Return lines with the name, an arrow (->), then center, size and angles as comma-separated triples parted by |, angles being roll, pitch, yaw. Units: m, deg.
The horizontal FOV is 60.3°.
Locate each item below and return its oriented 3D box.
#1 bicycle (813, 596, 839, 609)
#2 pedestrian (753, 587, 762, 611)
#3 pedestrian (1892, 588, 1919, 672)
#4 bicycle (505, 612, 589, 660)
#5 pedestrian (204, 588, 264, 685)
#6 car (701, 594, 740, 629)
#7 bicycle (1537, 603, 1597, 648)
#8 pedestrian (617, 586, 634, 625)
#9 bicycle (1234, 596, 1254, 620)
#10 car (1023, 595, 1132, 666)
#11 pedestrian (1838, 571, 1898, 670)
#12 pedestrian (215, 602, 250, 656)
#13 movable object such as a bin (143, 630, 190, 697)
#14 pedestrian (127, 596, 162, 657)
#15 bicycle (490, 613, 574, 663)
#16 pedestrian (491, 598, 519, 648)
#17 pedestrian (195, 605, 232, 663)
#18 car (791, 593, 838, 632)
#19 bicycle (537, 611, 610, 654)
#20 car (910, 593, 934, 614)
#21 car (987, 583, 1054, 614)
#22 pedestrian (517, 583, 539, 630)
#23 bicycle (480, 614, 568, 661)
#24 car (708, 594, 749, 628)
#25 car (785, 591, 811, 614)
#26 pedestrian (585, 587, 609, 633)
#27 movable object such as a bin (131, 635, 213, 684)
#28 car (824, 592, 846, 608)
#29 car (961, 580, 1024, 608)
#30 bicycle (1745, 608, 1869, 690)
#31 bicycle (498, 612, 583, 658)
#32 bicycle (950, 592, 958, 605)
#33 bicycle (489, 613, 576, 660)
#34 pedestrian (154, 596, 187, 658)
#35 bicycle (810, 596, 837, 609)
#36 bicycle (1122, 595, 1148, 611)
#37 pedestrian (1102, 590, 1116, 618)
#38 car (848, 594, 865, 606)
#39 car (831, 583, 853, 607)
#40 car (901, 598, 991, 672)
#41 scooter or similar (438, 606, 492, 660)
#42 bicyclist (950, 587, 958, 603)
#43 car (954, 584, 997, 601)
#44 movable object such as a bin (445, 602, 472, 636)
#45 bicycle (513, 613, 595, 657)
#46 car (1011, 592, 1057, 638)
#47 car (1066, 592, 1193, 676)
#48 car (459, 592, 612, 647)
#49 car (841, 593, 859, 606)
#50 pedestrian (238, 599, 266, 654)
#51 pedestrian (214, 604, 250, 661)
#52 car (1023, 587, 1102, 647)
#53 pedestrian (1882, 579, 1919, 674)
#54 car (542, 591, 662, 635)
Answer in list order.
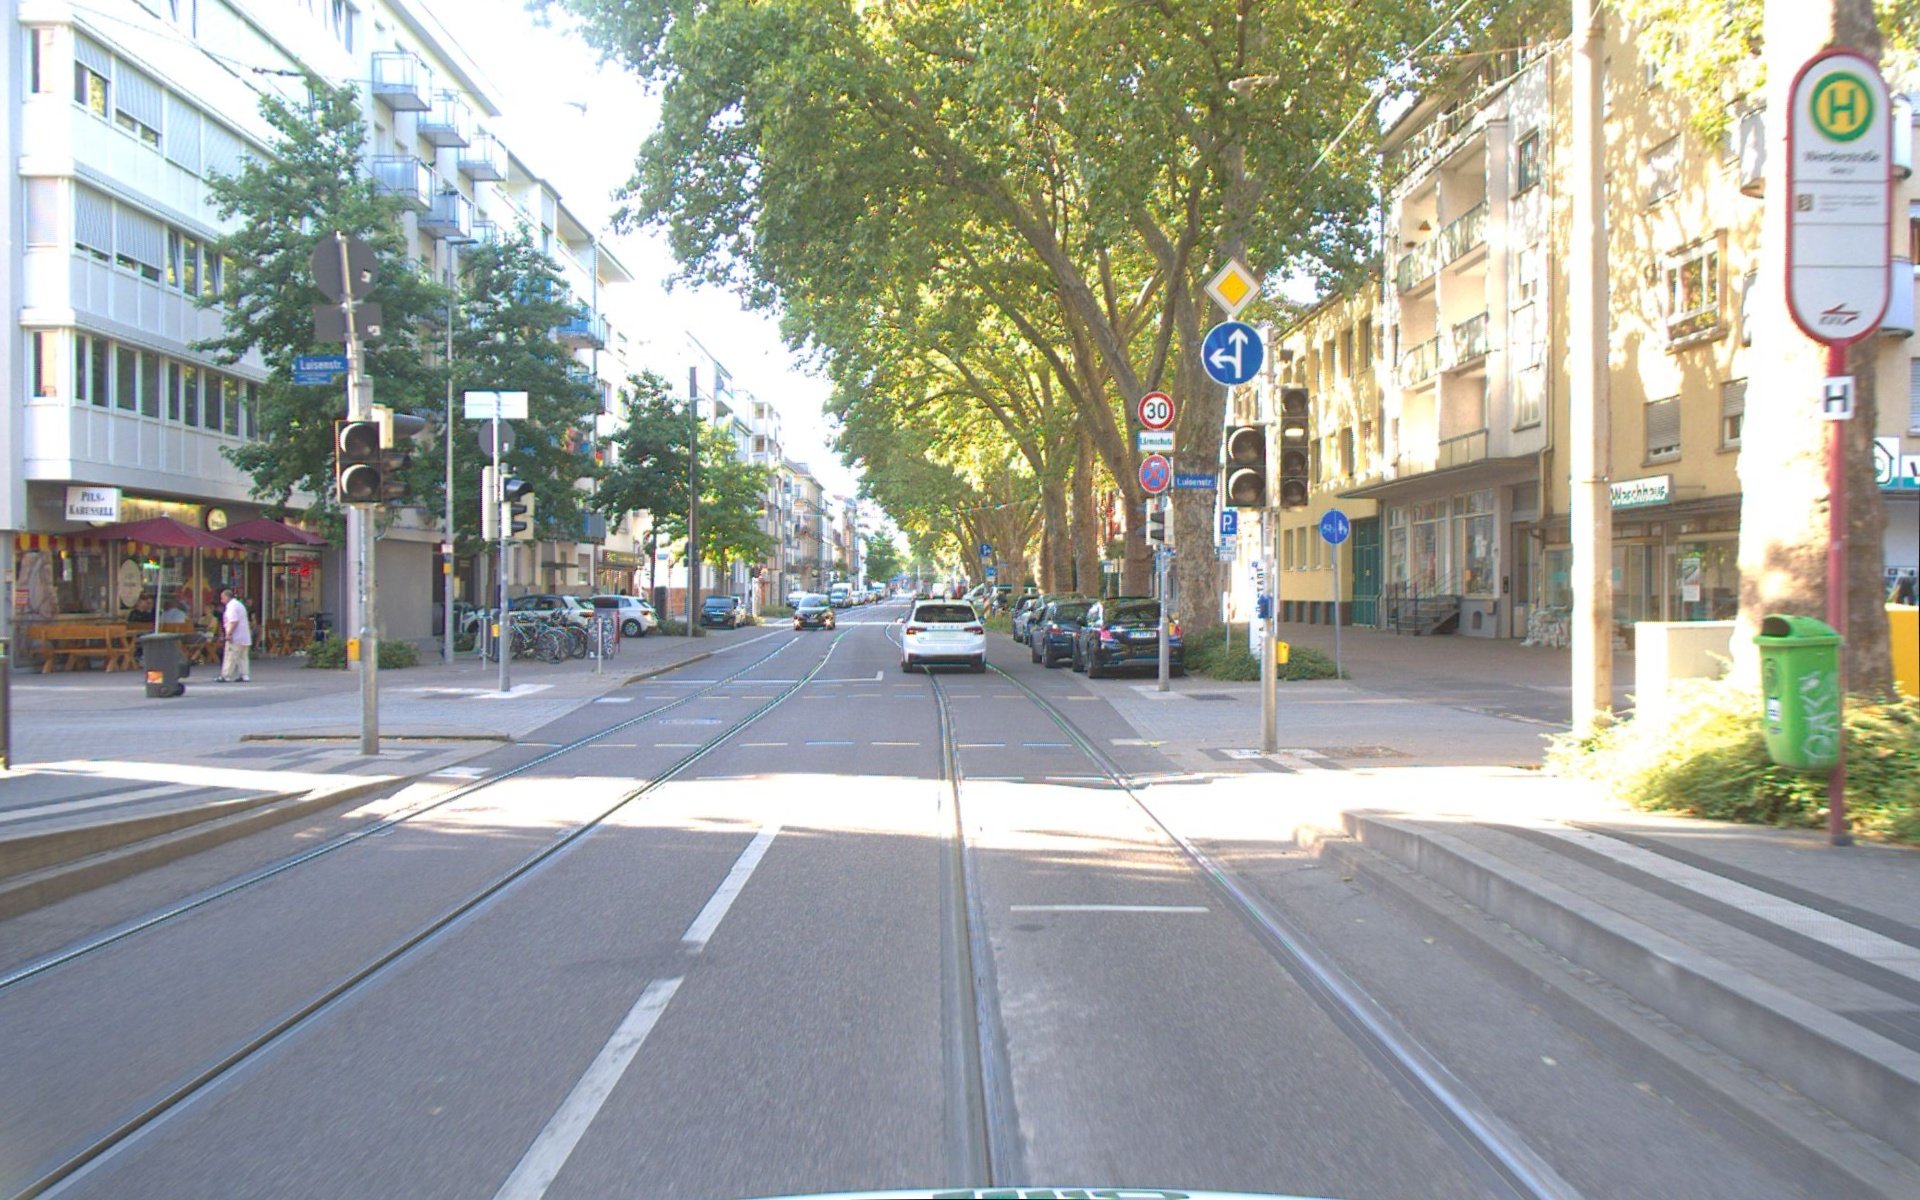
bicycle -> -13.208, 0.213, 162.657 | 2.477, 1.193, 0.718 | 2, -2, -7
pedestrian -> -15.909, -0.061, 129.827 | 0.650, 1.858, 0.965 | 0, 0, -3
pedestrian -> 16.858, 0.505, 28.766 | 0.824, 1.439, 0.767 | -1, 0, -10
bicycle -> -9.574, 0.837, 38.347 | 1.794, 1.082, 0.657 | 1, 0, -6
pedestrian -> -12.148, 0.602, 27.701 | 0.711, 1.583, 0.768 | -1, 0, -7
car -> -10.971, 0.516, 75.925 | 1.681, 1.489, 3.993 | 3, 0, -8
bicycle -> 14.036, 0.578, 38.303 | 0.559, 1.014, 1.778 | -2, 0, -6
pedestrian -> -14.890, 0.251, 73.597 | 0.650, 1.720, 0.748 | 0, 0, -3
bicycle -> 14.156, 0.391, 82.451 | 0.571, 1.123, 1.922 | -2, 0, -2
car -> 2.592, 0.641, 37.353 | 1.828, 1.462, 4.222 | -1, 0, -4
pedestrian -> 15.907, 0.354, 28.985 | 0.693, 1.712, 0.655 | -1, 0, -28
pedestrian -> -16.894, 0.669, 38.420 | 0.550, 1.219, 0.624 | -1, 0, -2
movable object such as a bin -> -11.752, 0.933, 24.495 | 0.530, 0.948, 0.647 | -1, 0, -18
pedestrian -> -16.517, 0.530, 33.483 | 0.557, 1.219, 0.506 | -1, 0, -36
bicycle -> -9.166, 0.811, 35.465 | 1.658, 1.025, 0.657 | 1, 0, -6
pedestrian -> -12.224, 0.621, 44.475 | 0.700, 1.320, 0.744 | -1, 0, -15
pedestrian -> -15.718, 0.712, 34.839 | 0.501, 1.219, 0.564 | -1, 0, 1
car -> -6.457, 0.540, 73.555 | 1.834, 1.617, 4.144 | 2, 0, -3
bicycle -> -9.461, 0.785, 40.515 | 1.658, 1.025, 0.657 | 1, 0, -6
car -> -2.820, 0.257, 124.135 | 1.726, 1.501, 4.000 | -1, 0, -1
car -> 4.113, -0.109, 113.530 | 4.453, 2.113, 1.999 | 0, 0, -4
pedestrian -> -15.902, 0.221, 60.870 | 0.650, 1.720, 0.748 | 0, 0, -3
bicycle -> -9.731, 0.834, 36.936 | 1.794, 1.025, 0.657 | 1, 0, -6
car -> -11.265, 0.524, 80.704 | 1.680, 1.489, 4.372 | 3, 0, -5
car -> -12.271, 0.171, 125.133 | 1.668, 1.679, 4.239 | 2, 0, -3
pedestrian -> -13.573, 0.373, 61.785 | 0.748, 1.720, 0.794 | 0, 0, -3
movable object such as a bin -> -13.013, 0.984, 27.348 | 1.176, 0.771, 0.661 | 1, 0, -23
car -> -12.844, -0.002, 170.036 | 1.953, 1.557, 3.999 | 0, 0, -1
car -> 3.125, -0.543, 160.504 | 6.008, 2.681, 2.528 | 0, 0, -3
bicycle -> 13.166, 0.745, 25.700 | 1.767, 1.177, 0.740 | -2, 0, -23
bicycle -> -9.629, 0.802, 38.026 | 1.794, 1.025, 0.657 | 1, 0, -6
bicycle -> -0.488, -0.099, 138.906 | 0.636, 1.089, 1.582 | -1, 0, -3
bicycle -> -9.649, 0.832, 37.379 | 1.794, 1.025, 0.657 | 1, 0, -6
pedestrian -> -15.819, 0.529, 33.149 | 0.503, 1.219, 0.561 | -1, 0, -17
bicycle -> -13.107, 0.224, 158.881 | 2.477, 1.193, 0.718 | 2, -2, -8
bicycle -> 12.806, 0.211, 121.117 | 1.756, 1.060, 0.617 | -2, 0, -5
pedestrian -> 10.160, 0.242, 112.826 | 0.751, 1.899, 1.187 | -1, 0, -5
car -> -13.533, -0.029, 216.039 | 1.953, 1.557, 3.999 | 0, 0, -1
car -> -12.987, -0.549, 181.758 | 2.134, 2.642, 4.948 | 0, 0, -1
car -> -0.345, 0.669, 34.121 | 1.726, 1.408, 3.998 | -1, 0, -2
scooter or similar -> -11.168, 0.744, 37.329 | 1.058, 1.197, 0.498 | 1, -1, -3
bicyclist -> -0.497, -0.419, 138.919 | 0.636, 1.367, 0.934 | -1, 0, -3
car -> 2.201, -1.086, 239.333 | 6.008, 2.322, 2.528 | 0, 0, -3
movable object such as a bin -> -15.817, 0.591, 52.165 | 0.664, 1.074, 0.622 | -1, 0, 0
bicycle -> -9.612, 0.827, 39.162 | 1.794, 1.025, 0.657 | 1, 0, -6
car -> 2.603, 0.542, 58.859 | 1.531, 1.545, 2.910 | -2, -1, 1
car -> 3.186, 0.605, 32.004 | 1.729, 1.488, 5.010 | 0, 0, -3
car -> -12.231, 0.562, 47.827 | 3.931, 1.501, 1.851 | 1, 0, -1
car -> -13.402, -0.085, 202.079 | 1.953, 1.557, 3.999 | 0, 0, -1
pedestrian -> -15.871, 0.592, 37.083 | 0.506, 1.219, 0.558 | -1, 0, -30
pedestrian -> -15.939, 0.708, 36.215 | 0.595, 1.219, 0.683 | -1, 0, -36
car -> 2.968, 0.496, 48.925 | 1.820, 1.631, 4.779 | -1, -1, -3
pedestrian -> 16.014, 0.439, 27.883 | 0.690, 1.566, 0.687 | -1, 0, 40
car -> -12.821, 0.462, 59.423 | 3.933, 1.501, 1.850 | 1, 0, -4
